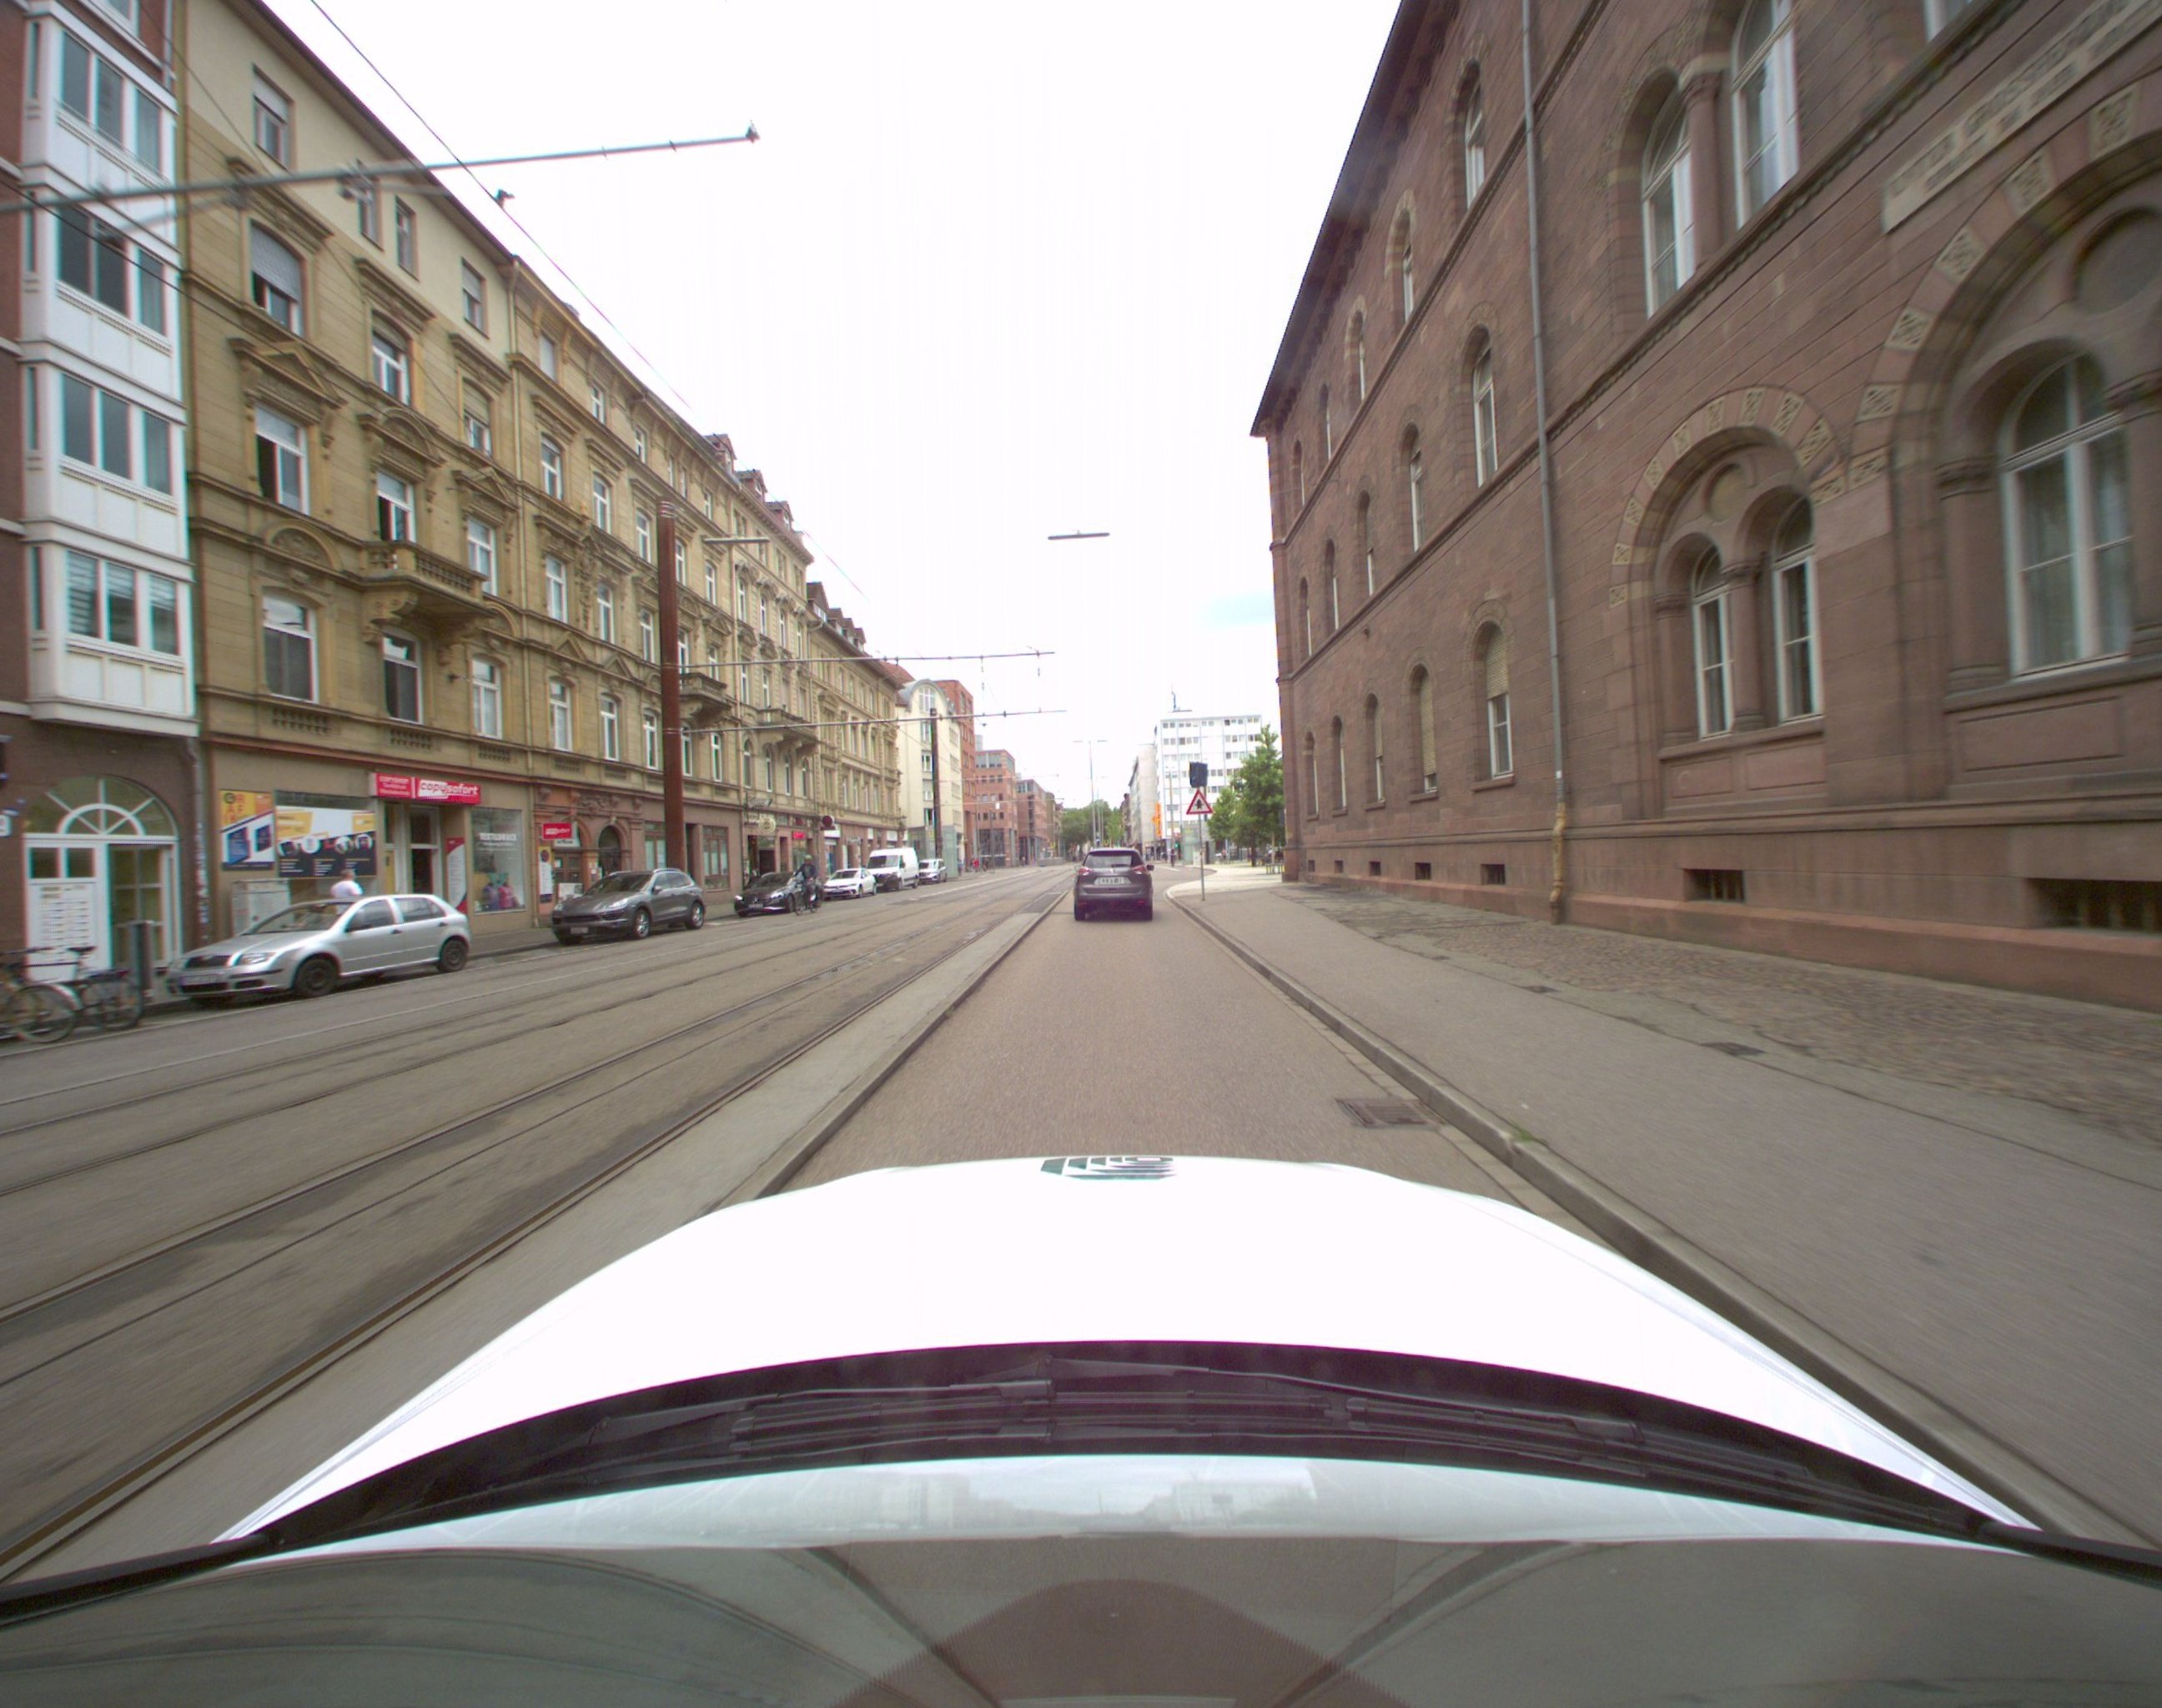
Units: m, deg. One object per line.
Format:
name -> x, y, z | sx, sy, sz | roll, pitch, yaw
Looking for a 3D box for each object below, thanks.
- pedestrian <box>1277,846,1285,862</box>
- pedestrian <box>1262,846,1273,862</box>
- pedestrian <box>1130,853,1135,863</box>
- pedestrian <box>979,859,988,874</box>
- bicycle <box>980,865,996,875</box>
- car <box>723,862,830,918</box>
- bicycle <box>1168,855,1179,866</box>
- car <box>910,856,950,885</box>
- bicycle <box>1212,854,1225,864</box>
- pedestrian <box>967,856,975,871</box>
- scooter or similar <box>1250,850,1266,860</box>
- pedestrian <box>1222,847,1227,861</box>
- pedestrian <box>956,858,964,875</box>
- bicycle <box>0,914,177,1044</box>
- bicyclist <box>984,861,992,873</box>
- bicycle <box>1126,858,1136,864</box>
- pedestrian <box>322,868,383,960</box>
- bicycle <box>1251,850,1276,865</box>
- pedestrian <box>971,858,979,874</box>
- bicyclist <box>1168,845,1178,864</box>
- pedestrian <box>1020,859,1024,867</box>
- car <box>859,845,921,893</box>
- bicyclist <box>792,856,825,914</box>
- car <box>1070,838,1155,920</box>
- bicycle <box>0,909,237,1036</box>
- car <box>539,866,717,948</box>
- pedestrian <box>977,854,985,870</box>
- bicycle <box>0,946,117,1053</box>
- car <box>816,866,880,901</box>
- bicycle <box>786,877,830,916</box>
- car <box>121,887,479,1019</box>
pedestrian -> 17.580, -0.025, 71.596 | 0.538, 1.366, 1.286 | -2, -1, 19
pedestrian -> 16.359, 0.036, 71.367 | 0.629, 1.366, 0.683 | -1, -1, -17
pedestrian -> 8.978, 0.648, 141.634 | 0.731, 1.746, 0.661 | -1, -1, -7
pedestrian -> -11.840, 1.523, 99.032 | 0.894, 1.890, 0.799 | -1, -2, -1
bicycle -> -10.990, 1.864, 96.202 | 1.903, 1.021, 0.479 | -3, -1, -6
car -> -11.037, 1.238, 29.959 | 1.913, 1.689, 5.051 | -5, 0, 0
bicycle -> 8.924, 0.649, 78.813 | 0.898, 1.045, 3.281 | -2, -1, 4
car -> -10.655, 1.121, 57.820 | 1.897, 1.864, 4.519 | -4, 0, 0
bicycle -> 13.793, 0.506, 81.648 | 0.651, 0.978, 1.765 | -3, -1, 30
pedestrian -> -12.501, 1.108, 92.518 | 0.870, 1.687, 0.659 | -2, -2, -13
scooter or similar -> 20.073, 0.091, 92.235 | 1.571, 0.948, 0.729 | -5, -1, 39
pedestrian -> 16.082, 0.021, 91.518 | 0.431, 1.556, 0.499 | -1, -1, 1
pedestrian -> -12.239, 1.271, 82.415 | 0.659, 1.687, 0.721 | -3, -2, -8
bicycle -> -12.048, 1.476, 9.552 | 2.274, 1.329, 0.521 | -4, -1, 1
bicyclist -> -11.010, 1.493, 96.200 | 0.808, 1.407, 0.479 | -3, -1, -5
bicycle -> 8.701, 1.165, 141.885 | 1.686, 1.065, 0.438 | -2, -1, 7
pedestrian -> -14.668, 1.190, 16.401 | 0.646, 1.782, 0.790 | -2, -1, 38
bicycle -> 14.309, 0.281, 63.830 | 1.901, 1.123, 0.647 | -2, -1, 12
pedestrian -> -11.662, 1.355, 89.578 | 0.720, 1.687, 0.660 | -2, -2, -9
bicyclist -> 8.907, 0.061, 78.710 | 0.830, 1.812, 0.878 | -2, -1, 4
pedestrian -> -11.005, 1.670, 151.802 | 0.450, 1.532, 0.519 | -1, -1, -16
car -> -11.036, 0.849, 47.461 | 2.046, 2.486, 5.665 | -5, 0, 0
bicyclist -> -9.001, 1.008, 26.949 | 0.642, 1.883, 1.029 | -2, -1, 3
car -> 0.661, 0.540, 20.214 | 1.858, 1.775, 4.565 | 1, 0, -1
bicycle -> -12.078, 1.466, 10.202 | 2.273, 1.329, 0.666 | -4, -1, 1
car -> -11.542, 1.259, 21.248 | 1.808, 1.689, 5.029 | -4, 0, -1
pedestrian -> -10.982, 0.847, 89.374 | 0.660, 1.687, 0.720 | -2, -2, -11
bicycle -> -12.097, 1.609, 8.950 | 2.273, 1.041, 0.620 | -2, 0, 1
car -> -11.249, 1.405, 39.612 | 1.765, 1.422, 4.164 | -5, 0, 0
bicycle -> -9.004, 1.389, 26.968 | 0.582, 1.174, 2.046 | -4, -1, 3
car -> -11.873, 1.401, 12.836 | 1.738, 1.488, 3.920 | -4, 0, 1
